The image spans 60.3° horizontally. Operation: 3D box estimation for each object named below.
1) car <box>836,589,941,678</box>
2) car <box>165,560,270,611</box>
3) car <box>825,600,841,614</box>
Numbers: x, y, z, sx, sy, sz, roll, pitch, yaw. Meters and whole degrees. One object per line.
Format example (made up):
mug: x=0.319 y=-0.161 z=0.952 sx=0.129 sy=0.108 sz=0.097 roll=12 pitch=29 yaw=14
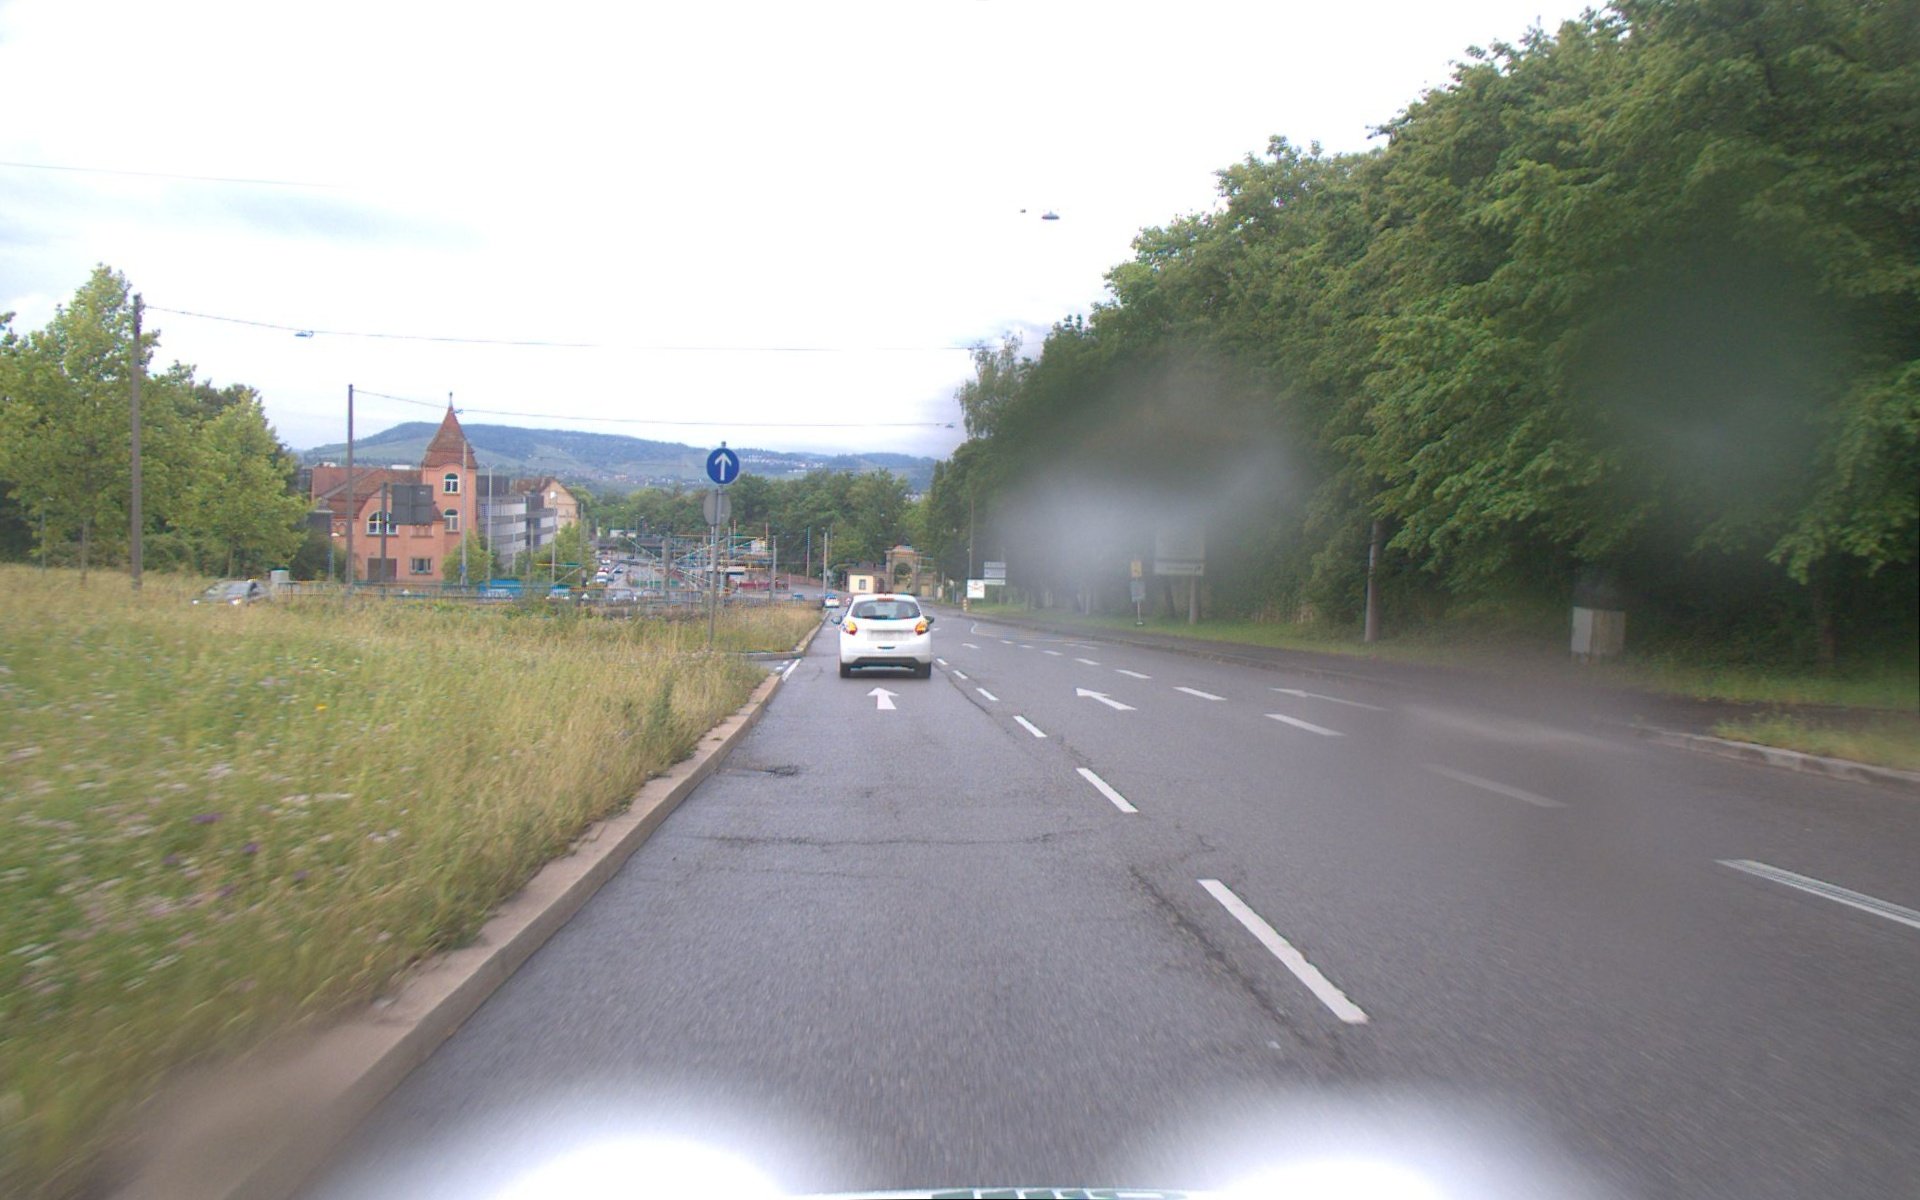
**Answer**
car: x=-1.356 y=0.569 z=30.793 sx=1.831 sy=1.537 sz=3.897 roll=0 pitch=0 yaw=-3
car: x=-24.479 y=-0.472 z=54.660 sx=1.624 sy=1.554 sz=4.432 roll=2 pitch=0 yaw=-3
car: x=-16.126 y=0.898 z=210.125 sx=1.786 sy=1.634 sz=3.998 roll=-1 pitch=0 yaw=-3
